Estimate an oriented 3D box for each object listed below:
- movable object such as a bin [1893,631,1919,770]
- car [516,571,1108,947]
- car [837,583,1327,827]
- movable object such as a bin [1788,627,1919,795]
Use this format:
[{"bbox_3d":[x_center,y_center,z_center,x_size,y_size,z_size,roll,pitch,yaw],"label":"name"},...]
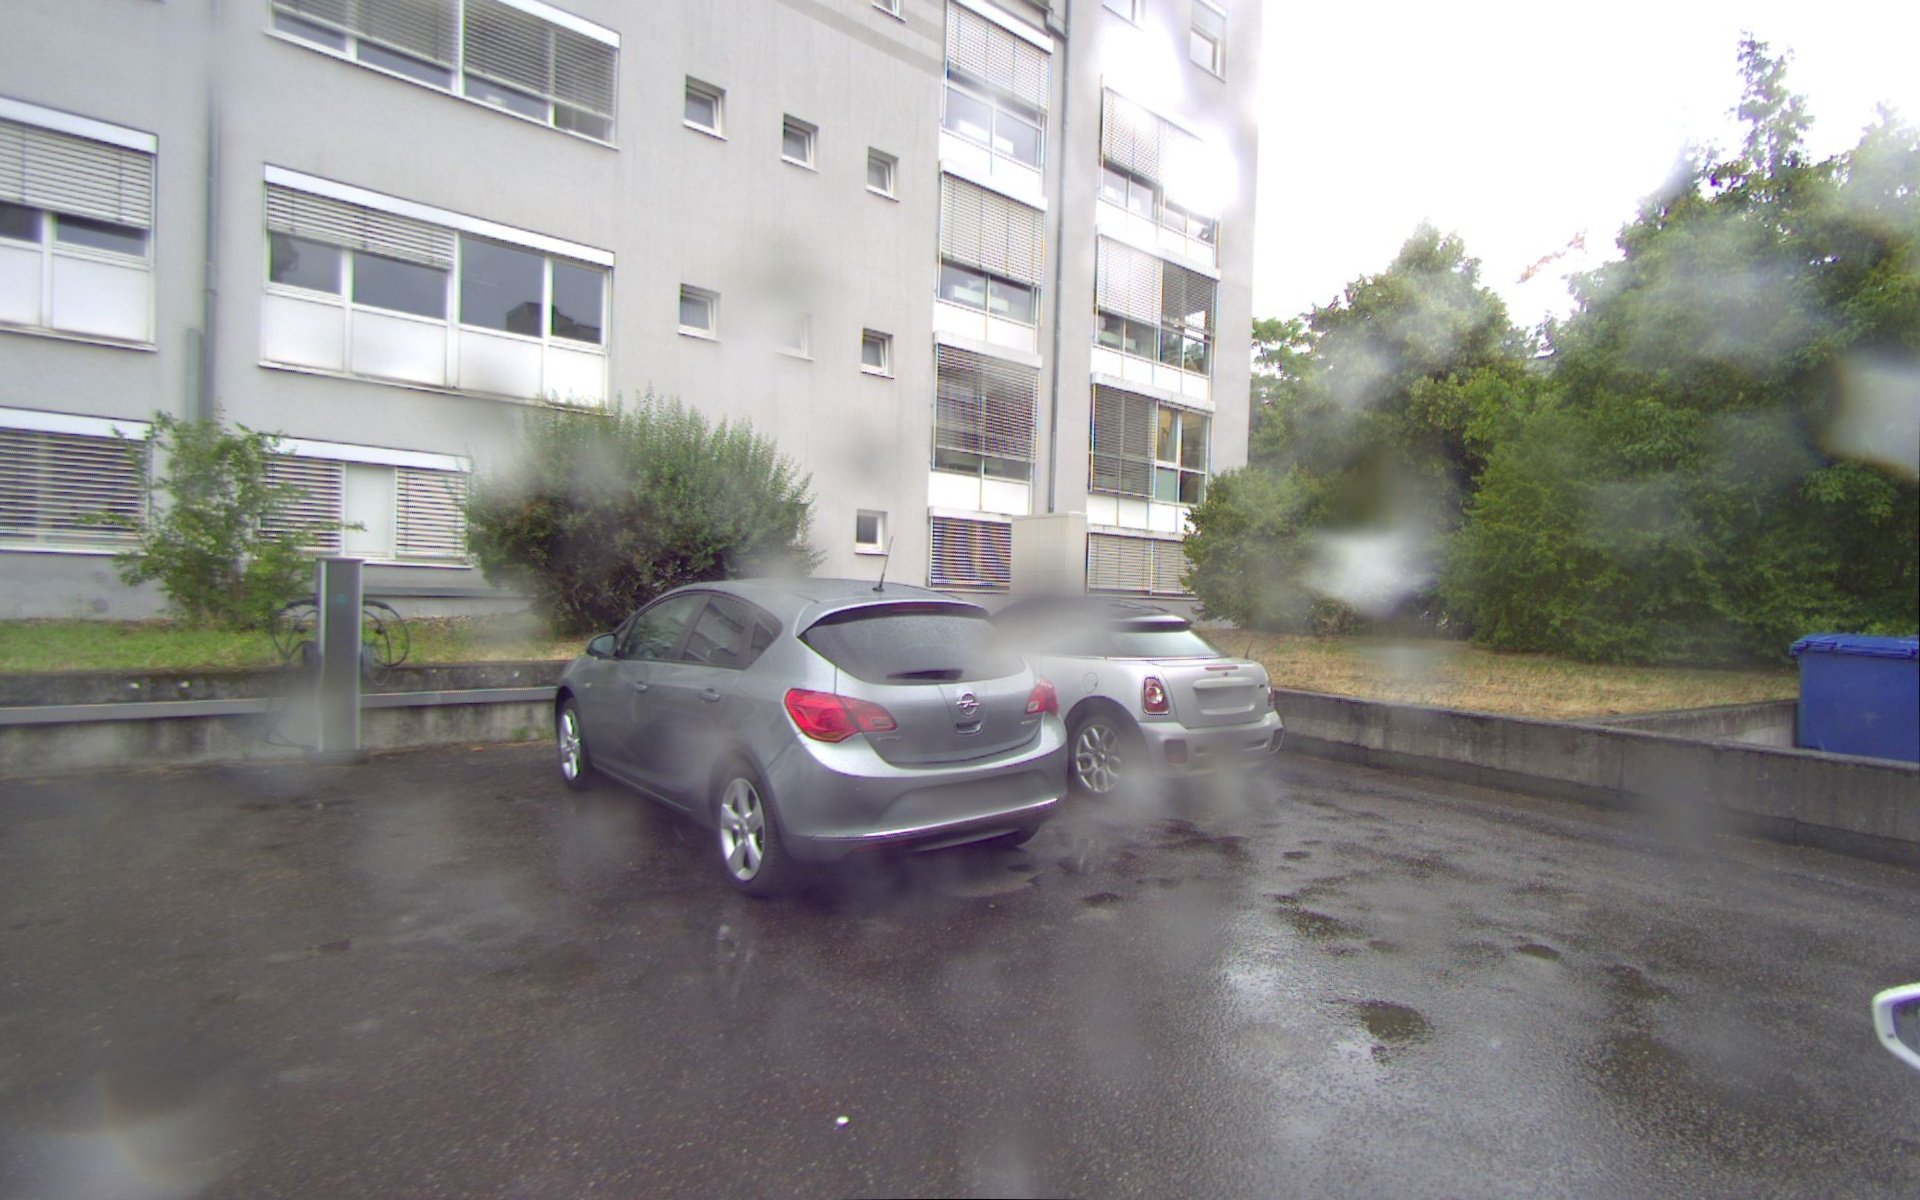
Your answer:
[{"bbox_3d":[10.074,1.010,9.788,0.996,1.355,1.214,0,1,-33],"label":"movable object such as a bin"},{"bbox_3d":[-1.231,0.605,6.254,1.806,1.503,4.132,0,1,-39],"label":"car"},{"bbox_3d":[0.784,0.664,8.689,1.806,1.351,4.133,1,4,-37],"label":"car"},{"bbox_3d":[8.539,0.976,9.168,1.105,1.355,1.195,-1,4,-33],"label":"movable object such as a bin"}]
